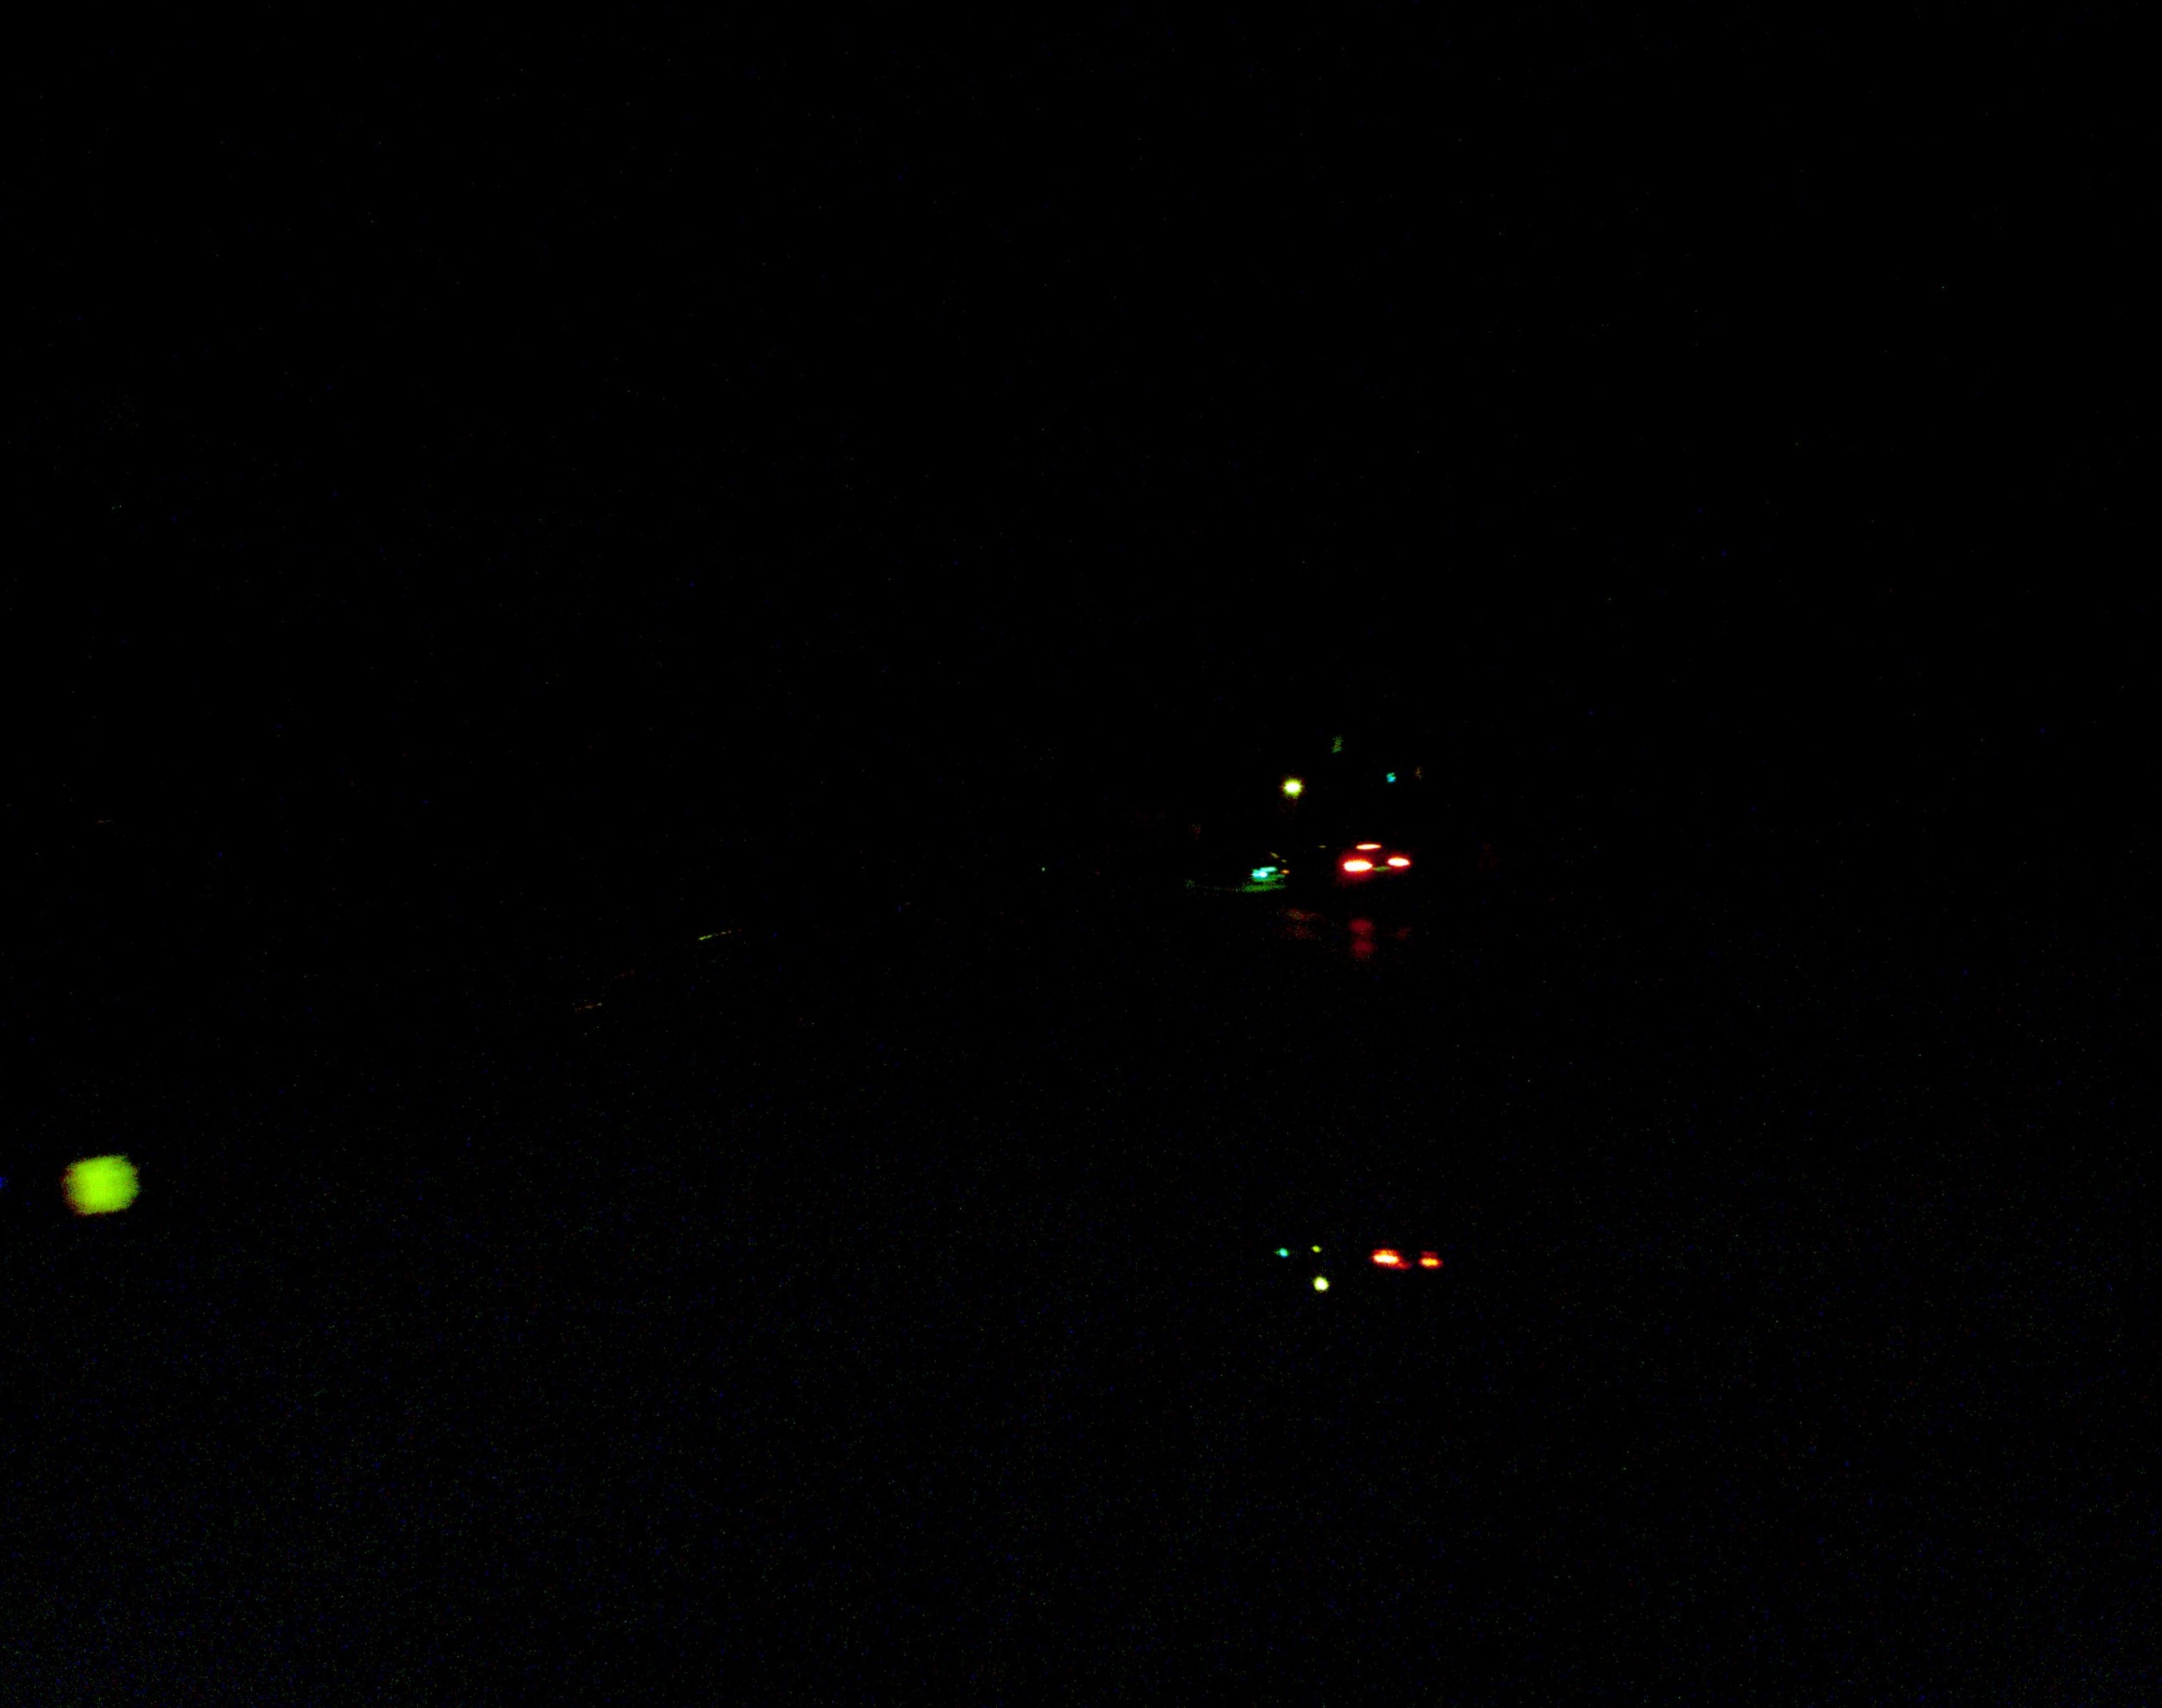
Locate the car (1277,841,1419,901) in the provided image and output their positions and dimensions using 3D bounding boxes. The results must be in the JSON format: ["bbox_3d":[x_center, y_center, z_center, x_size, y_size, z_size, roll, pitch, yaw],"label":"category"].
[{"bbox_3d":[7.575,0.463,22.192,1.854,1.436,4.913,-4,0,-7],"label":"car"}]

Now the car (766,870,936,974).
[{"bbox_3d":[-4.184,1.162,14.649,1.999,1.543,4.326,-4,-1,-2],"label":"car"}]

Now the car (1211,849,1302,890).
[{"bbox_3d":[6.898,0.588,30.387,2.000,1.371,4.595,-4,0,-7],"label":"car"}]

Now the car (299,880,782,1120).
[{"bbox_3d":[-4.844,1.168,7.708,1.939,1.543,4.000,-4,0,0],"label":"car"}]
